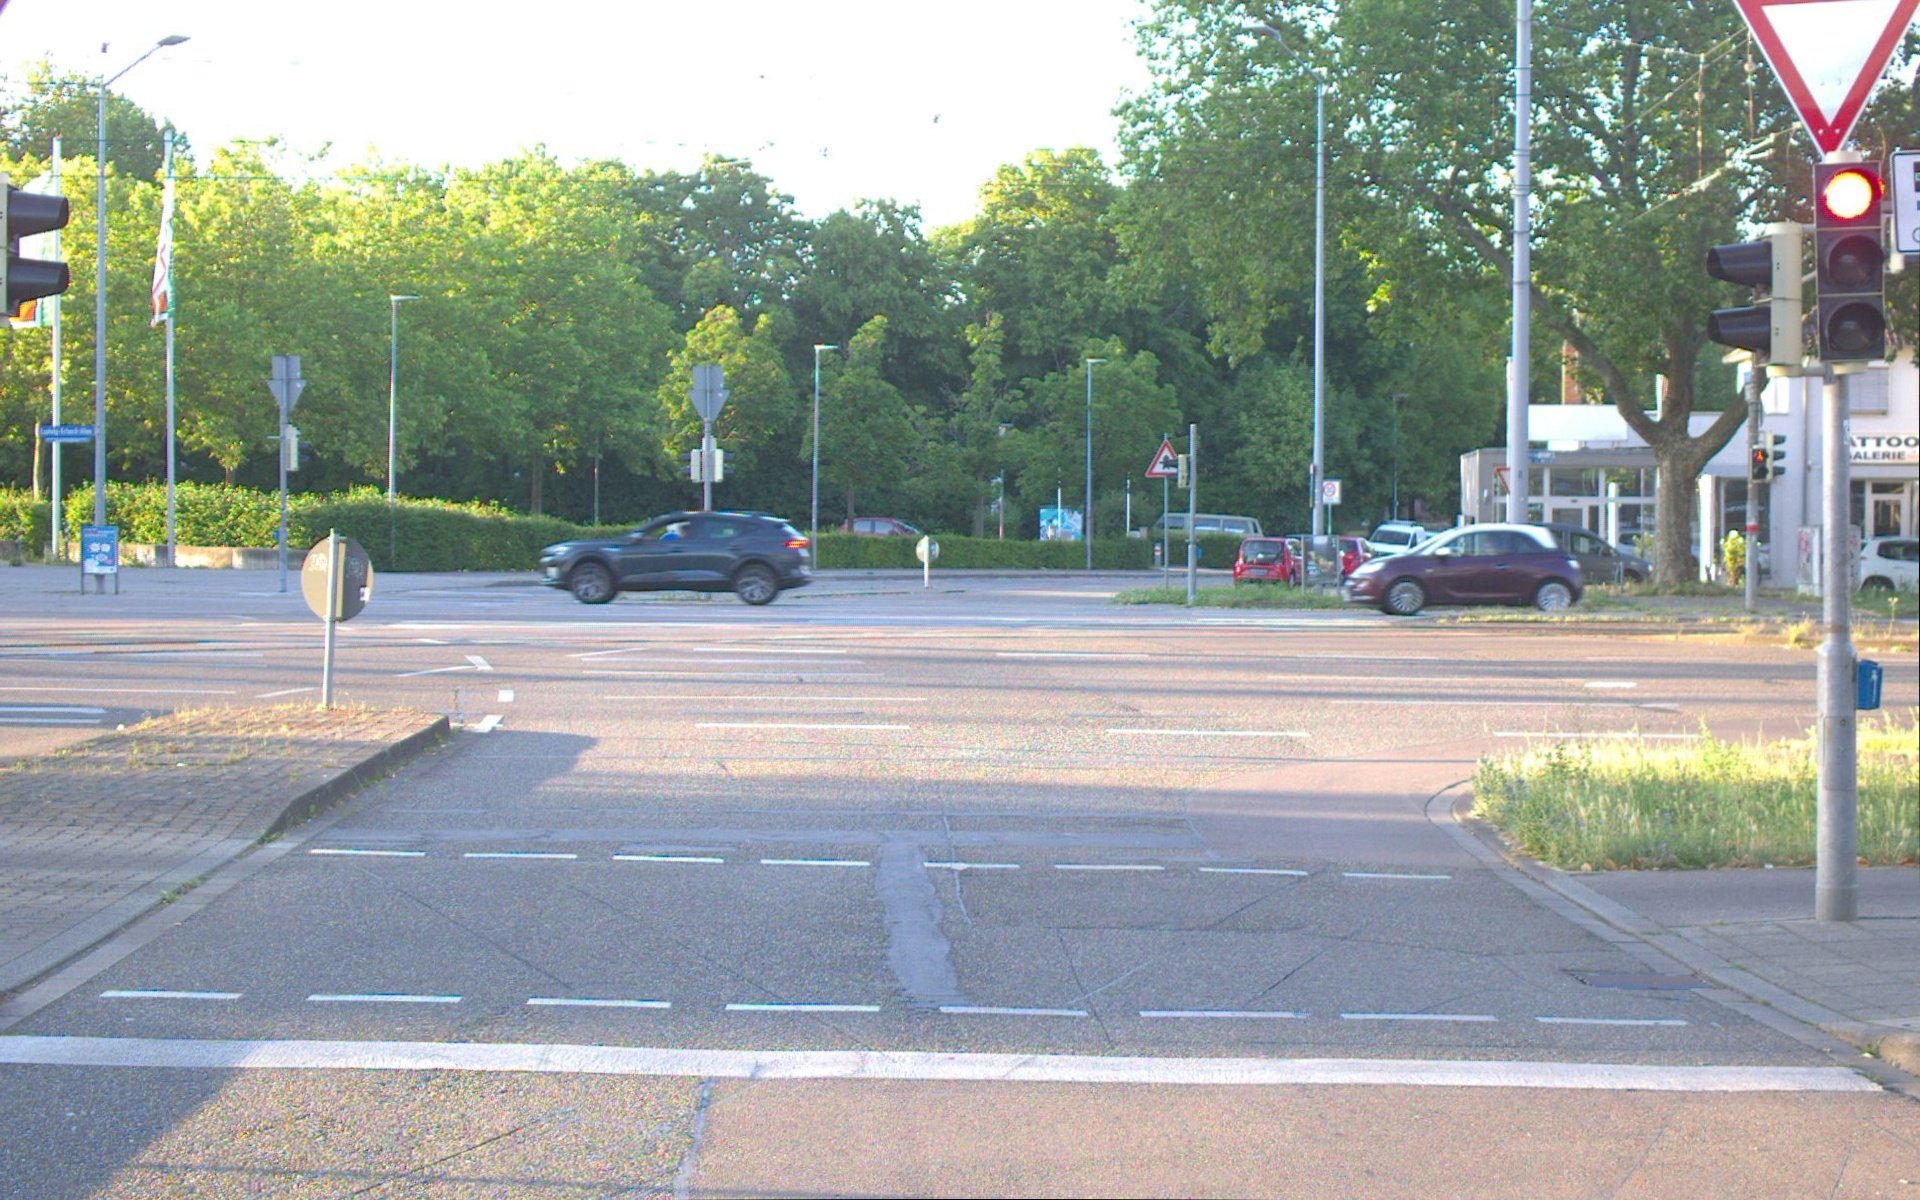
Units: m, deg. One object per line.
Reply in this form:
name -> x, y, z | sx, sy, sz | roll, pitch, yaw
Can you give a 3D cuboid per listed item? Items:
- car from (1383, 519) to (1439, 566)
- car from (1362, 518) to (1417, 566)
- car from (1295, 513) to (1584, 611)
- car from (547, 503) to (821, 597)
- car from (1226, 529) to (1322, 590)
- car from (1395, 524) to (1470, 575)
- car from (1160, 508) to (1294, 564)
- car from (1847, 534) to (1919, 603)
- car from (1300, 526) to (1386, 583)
car -> 17.865, -2.272, 136.090 | 1.864, 1.788, 3.998 | 1, 0, 12
car -> 16.411, -2.209, 131.196 | 1.864, 1.788, 3.998 | 1, 0, 10
car -> 7.526, -0.595, 54.273 | 4.331, 1.491, 1.804 | 0, 0, 1
car -> -4.503, -0.816, 56.524 | 4.331, 1.491, 1.804 | 0, 0, 1
car -> 8.764, -1.113, 95.693 | 1.995, 1.656, 3.997 | 1, 0, 15
car -> 15.907, -1.693, 115.605 | 1.995, 1.656, 3.997 | 1, 0, 15
car -> 9.767, -2.338, 125.881 | 4.774, 1.999, 2.000 | 0, 0, 2
car -> 20.626, -0.649, 72.122 | 3.741, 1.435, 1.663 | 1, 0, 9
car -> 11.543, -1.353, 103.380 | 1.995, 1.656, 3.997 | 1, 0, 15
